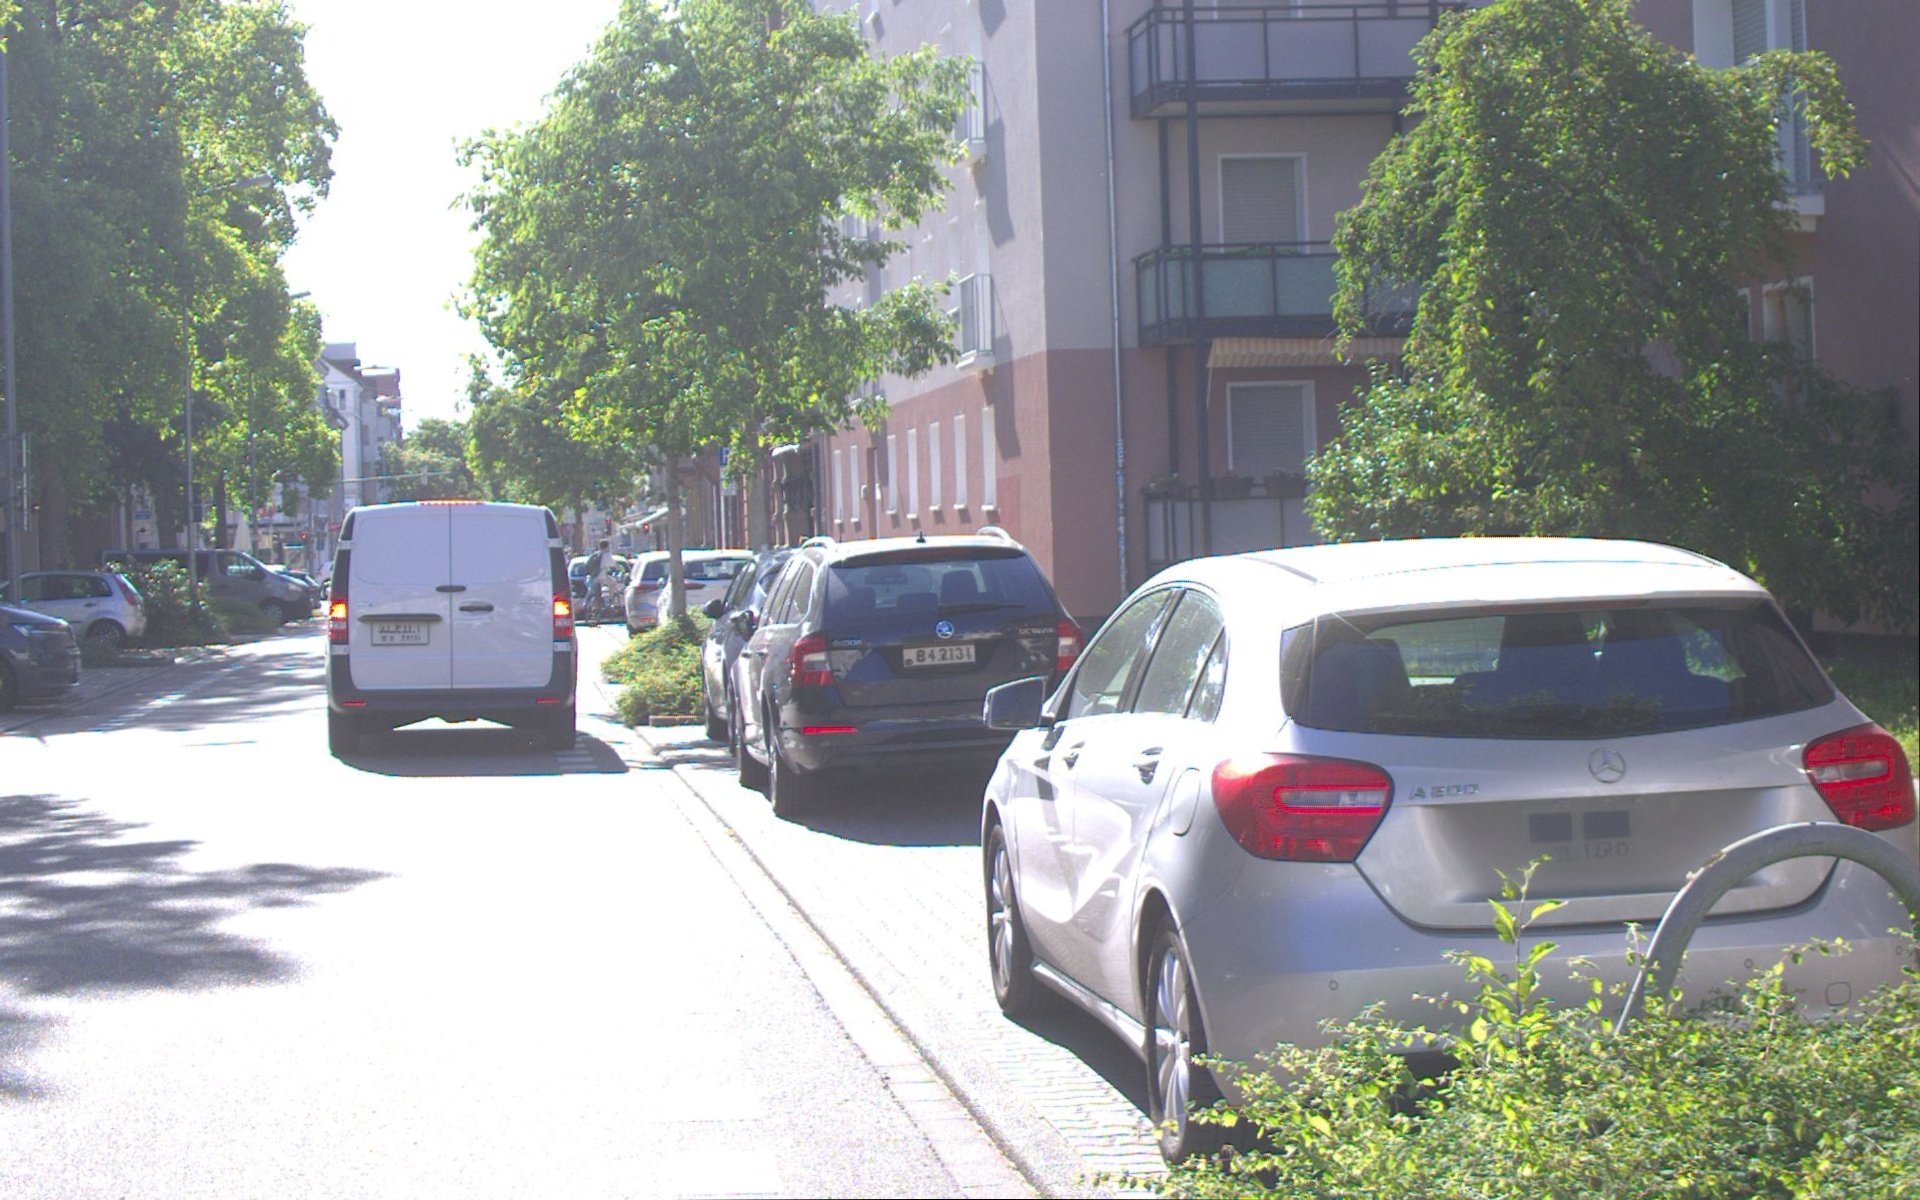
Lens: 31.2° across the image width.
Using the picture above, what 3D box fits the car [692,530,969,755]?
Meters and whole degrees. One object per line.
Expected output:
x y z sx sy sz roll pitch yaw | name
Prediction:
-1.049 0.259 25.943 1.740 1.514 3.859 -2 1 -7 | car

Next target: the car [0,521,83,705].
-12.421 0.187 37.740 5.211 1.974 1.662 -2 1 -8 | car

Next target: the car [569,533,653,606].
-7.714 -0.689 75.818 1.740 1.514 3.859 -2 1 -7 | car

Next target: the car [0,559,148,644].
-15.968 0.018 60.483 3.098 1.404 1.662 -2 1 -8 | car

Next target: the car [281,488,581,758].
-4.225 0.107 27.763 2.100 1.901 5.426 -2 1 -8 | car

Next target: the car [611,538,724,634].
-4.952 -0.265 57.838 1.740 1.514 3.859 -2 1 -7 | car

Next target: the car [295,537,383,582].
-29.340 -1.926 162.383 3.986 2.007 2.001 -2 1 -11 | car

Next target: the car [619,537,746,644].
-4.260 -0.170 52.389 1.740 1.514 3.859 -2 1 -7 | car

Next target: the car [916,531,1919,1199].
1.015 0.572 9.291 1.740 1.449 4.156 -2 1 -8 | car

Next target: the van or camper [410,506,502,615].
-12.135 -0.981 83.039 1.993 2.467 5.821 -2 1 -7 | van or camper

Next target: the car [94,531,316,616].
-18.677 -0.670 85.225 5.211 1.974 1.662 -2 1 -8 | car

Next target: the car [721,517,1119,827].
-0.346 0.328 19.630 1.782 1.514 4.310 -2 1 -7 | car
